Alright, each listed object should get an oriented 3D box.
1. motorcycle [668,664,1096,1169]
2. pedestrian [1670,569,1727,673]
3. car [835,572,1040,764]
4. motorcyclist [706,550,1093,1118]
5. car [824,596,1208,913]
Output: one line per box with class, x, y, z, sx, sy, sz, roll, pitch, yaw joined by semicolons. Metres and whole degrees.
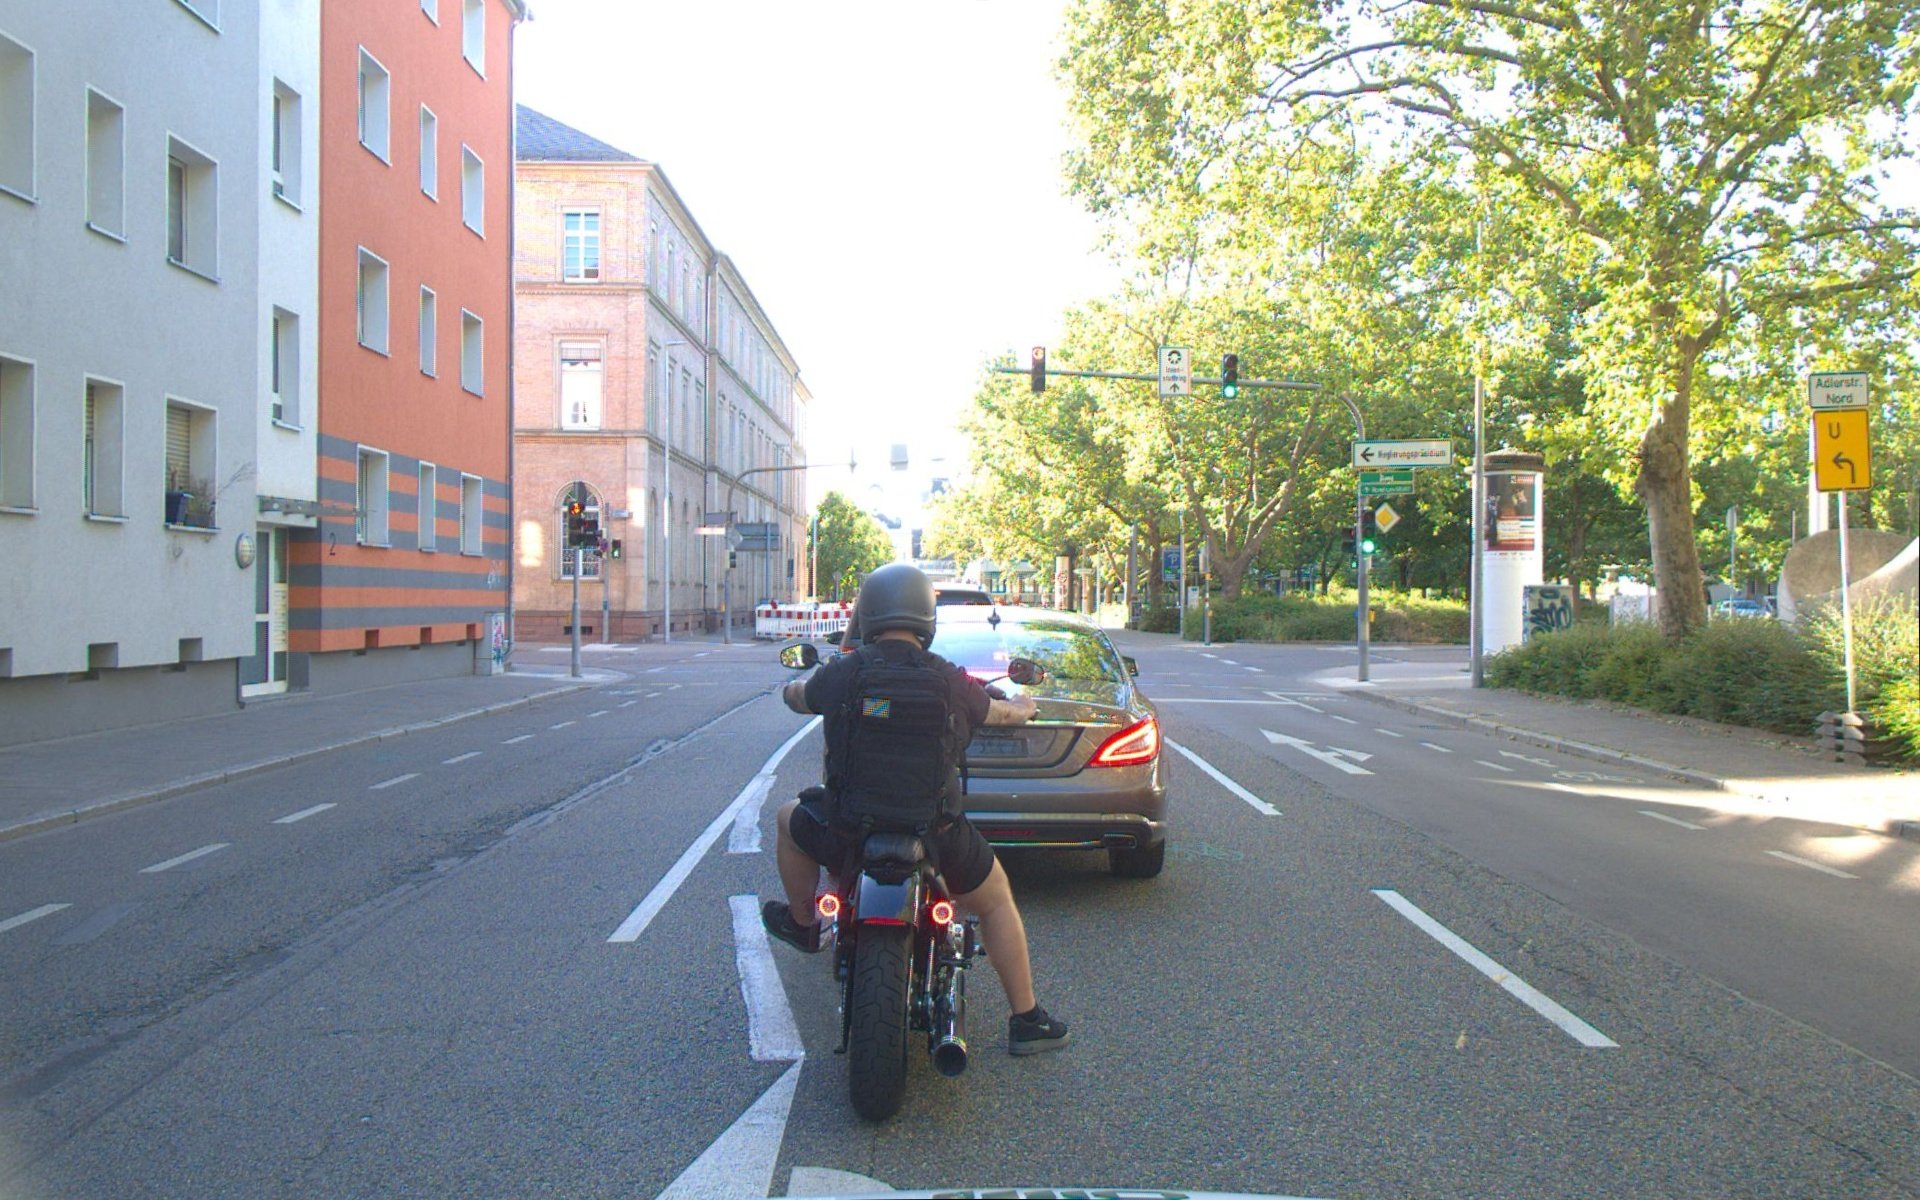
motorcycle;-0.123;0.875;5.494;1.094;1.228;2.213;1;0;5
pedestrian;13.056;0.363;29.257;0.720;1.809;0.730;1;-1;7
car;-0.234;0.626;16.939;1.825;1.707;3.999;1;0;-1
motorcyclist;-0.136;0.664;5.274;1.076;1.593;1.072;1;0;5
car;0.239;0.734;9.666;1.785;1.462;3.805;1;0;-1
